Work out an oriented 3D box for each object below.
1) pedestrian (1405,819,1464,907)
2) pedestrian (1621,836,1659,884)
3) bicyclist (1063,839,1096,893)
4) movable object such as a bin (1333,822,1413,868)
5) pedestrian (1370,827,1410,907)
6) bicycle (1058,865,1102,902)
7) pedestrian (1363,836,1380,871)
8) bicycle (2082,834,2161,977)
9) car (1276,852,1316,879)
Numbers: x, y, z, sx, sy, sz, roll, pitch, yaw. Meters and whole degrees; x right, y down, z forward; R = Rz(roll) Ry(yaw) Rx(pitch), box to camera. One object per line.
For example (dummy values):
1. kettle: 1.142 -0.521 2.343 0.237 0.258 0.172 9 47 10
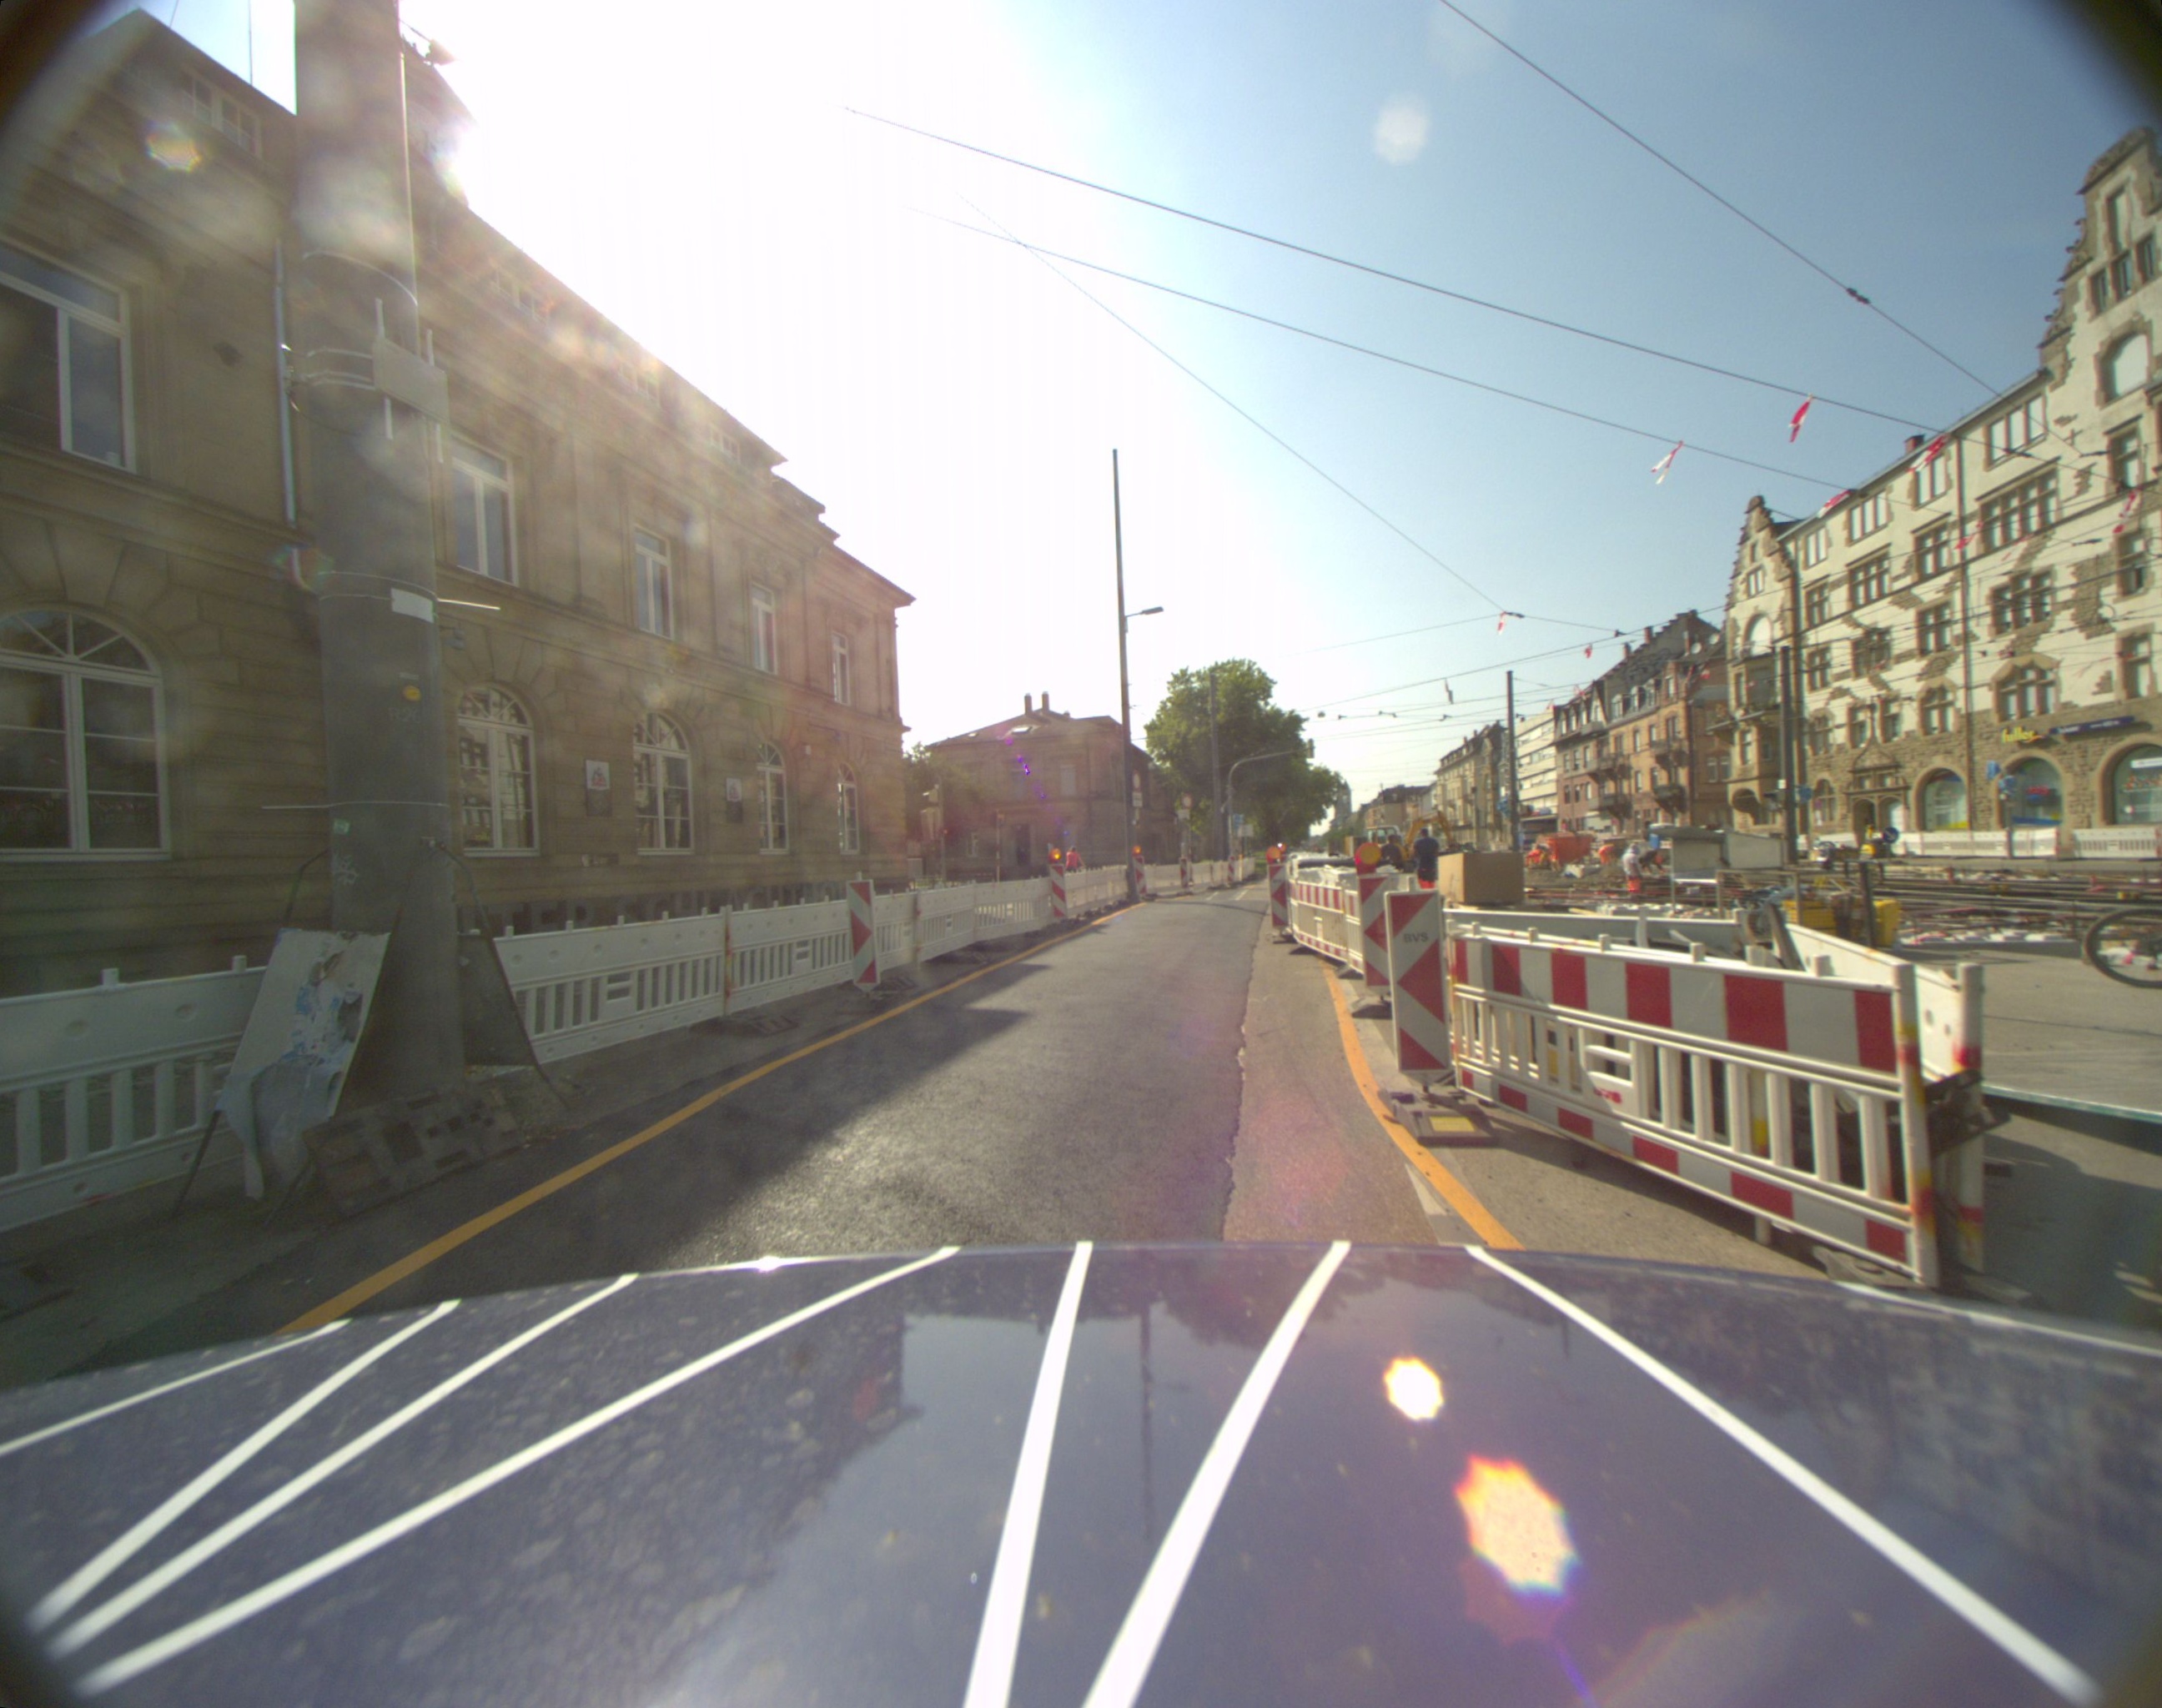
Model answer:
1. pedestrian: 7.612 0.192 16.394 0.919 1.830 0.802 -2 0 11
2. pedestrian: 14.833 0.164 20.171 0.548 1.239 0.547 -2 0 -2
3. bicyclist: -0.032 0.377 23.529 0.735 1.616 0.854 -2 0 16
4. movable object such as a bin: 15.748 -0.515 41.147 3.169 2.395 2.919 0 2 0
5. pedestrian: 6.977 0.285 17.198 0.719 1.764 0.466 -2 0 14
6. bicycle: -0.009 0.885 23.533 0.742 1.026 2.135 -2 0 16
7. pedestrian: 14.749 -0.006 38.525 0.700 1.729 0.914 -2 0 23
8. bicycle: 9.282 0.397 5.893 0.677 1.142 1.795 -3 0 -36
9. car: 12.407 0.638 43.653 1.996 1.387 4.005 -2 0 18
